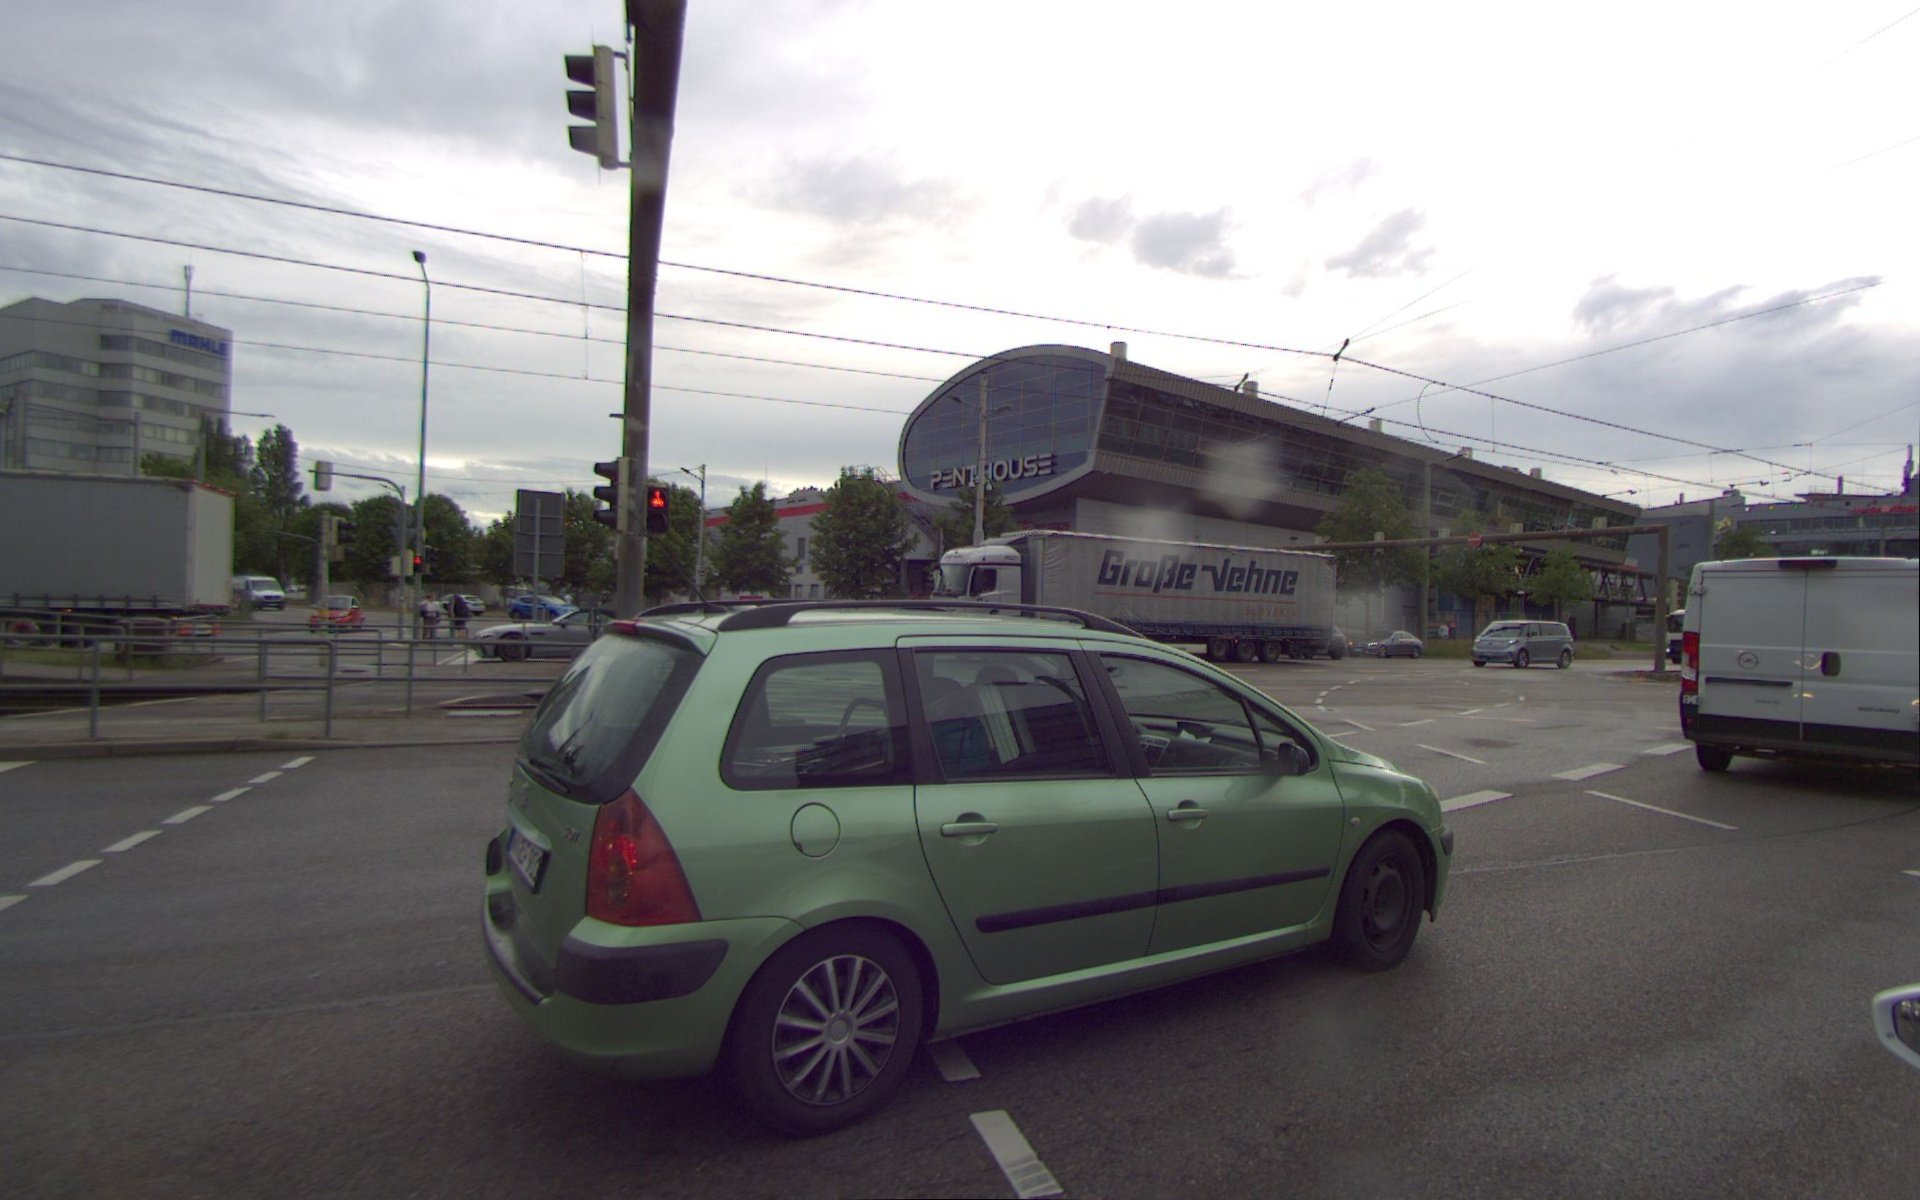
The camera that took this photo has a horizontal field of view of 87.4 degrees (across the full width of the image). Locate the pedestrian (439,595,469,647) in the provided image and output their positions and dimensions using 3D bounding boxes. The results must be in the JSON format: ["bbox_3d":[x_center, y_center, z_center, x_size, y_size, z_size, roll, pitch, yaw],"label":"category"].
[{"bbox_3d":[-16.826,0.684,33.411,0.728,1.685,0.725,3,1,-21],"label":"pedestrian"}]

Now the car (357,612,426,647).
[{"bbox_3d":[-25.784,1.319,45.642,1.427,1.455,3.313,3,-1,-6],"label":"car"}]

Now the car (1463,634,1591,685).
[{"bbox_3d":[23.034,2.371,40.791,4.840,1.862,1.988,1,2,-24],"label":"car"}]

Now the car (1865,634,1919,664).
[{"bbox_3d":[58.006,3.049,62.180,4.151,1.675,1.912,3,0,-32],"label":"car"}]

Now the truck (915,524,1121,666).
[{"bbox_3d":[1.927,-0.050,32.705,6.109,4.184,2.656,3,-1,-28],"label":"truck"}]

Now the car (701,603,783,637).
[{"bbox_3d":[-9.941,0.878,45.604,1.985,1.420,3.952,2,-1,-41],"label":"car"}]

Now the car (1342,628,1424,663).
[{"bbox_3d":[22.021,2.341,52.256,4.606,1.630,1.977,2,1,-40],"label":"car"}]

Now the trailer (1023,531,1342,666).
[{"bbox_3d":[8.330,0.150,36.204,12.591,4.179,2.638,3,-1,-29],"label":"trailer"}]

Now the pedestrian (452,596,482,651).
[{"bbox_3d":[-16.011,0.758,32.637,0.728,1.728,0.725,3,1,-21],"label":"pedestrian"}]

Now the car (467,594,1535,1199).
[{"bbox_3d":[0.417,0.841,4.303,4.356,1.488,1.685,2,1,-33],"label":"car"}]

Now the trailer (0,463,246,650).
[{"bbox_3d":[-23.733,-1.032,23.291,11.262,4.162,2.792,1,-1,-18],"label":"trailer"}]

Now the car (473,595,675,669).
[{"bbox_3d":[-9.494,0.799,25.044,4.495,1.576,1.901,3,1,-19],"label":"car"}]

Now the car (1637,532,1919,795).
[{"bbox_3d":[9.764,0.674,11.216,4.865,2.324,2.425,3,-3,-40],"label":"car"}]
